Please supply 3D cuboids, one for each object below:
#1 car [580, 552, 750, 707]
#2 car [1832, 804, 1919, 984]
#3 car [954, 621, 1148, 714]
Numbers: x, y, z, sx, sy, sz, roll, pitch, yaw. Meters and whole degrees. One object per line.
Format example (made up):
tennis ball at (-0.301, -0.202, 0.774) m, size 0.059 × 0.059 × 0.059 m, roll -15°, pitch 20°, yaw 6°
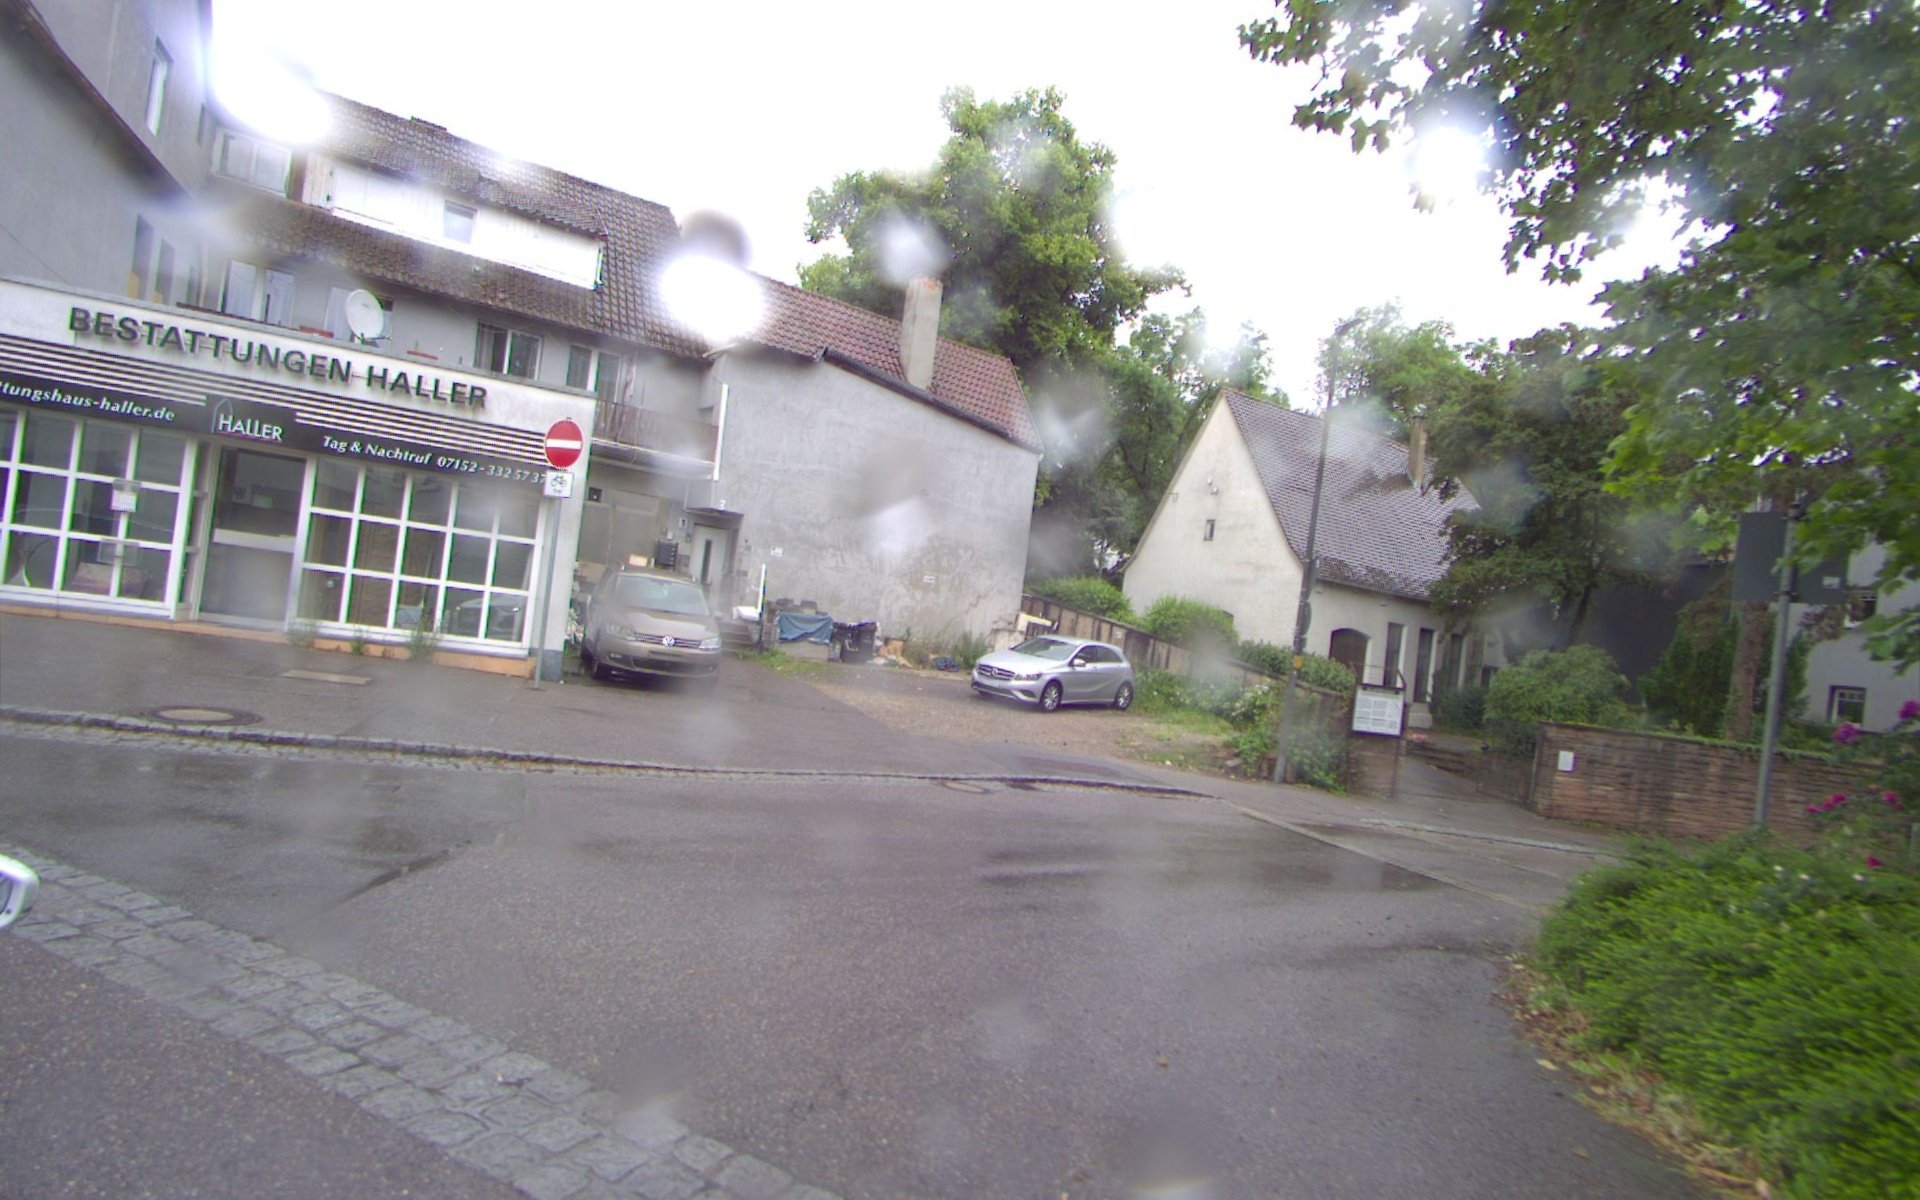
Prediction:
car at (-4.775, 0.360, 15.864) m, size 1.975 × 1.794 × 3.975 m, roll 8°, pitch 1°, yaw -23°
car at (12.867, 3.818, 11.406) m, size 3.931 × 1.678 × 1.989 m, roll 10°, pitch 14°, yaw -5°
car at (1.953, 1.419, 20.754) m, size 1.808 × 1.493 × 3.979 m, roll 10°, pitch 2°, yaw 42°
